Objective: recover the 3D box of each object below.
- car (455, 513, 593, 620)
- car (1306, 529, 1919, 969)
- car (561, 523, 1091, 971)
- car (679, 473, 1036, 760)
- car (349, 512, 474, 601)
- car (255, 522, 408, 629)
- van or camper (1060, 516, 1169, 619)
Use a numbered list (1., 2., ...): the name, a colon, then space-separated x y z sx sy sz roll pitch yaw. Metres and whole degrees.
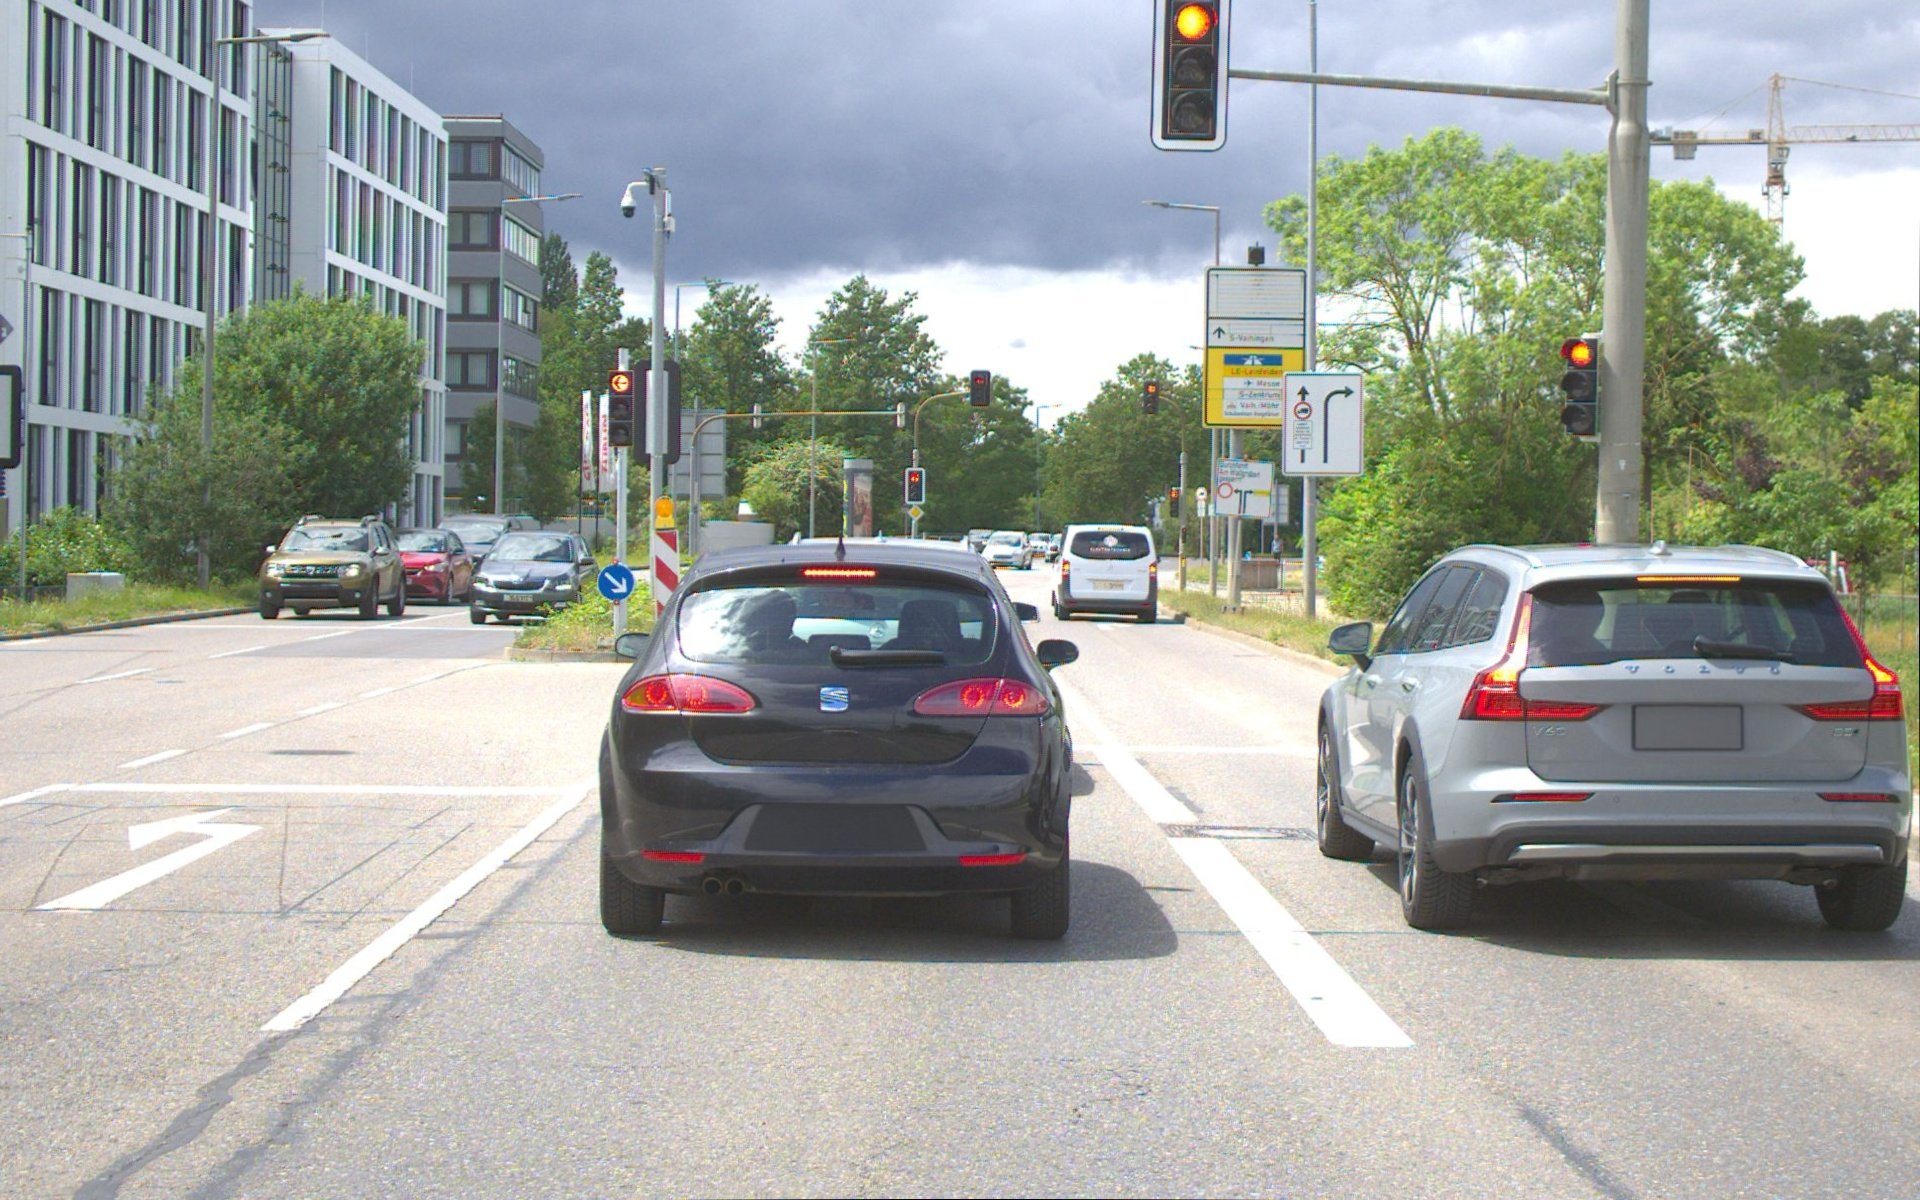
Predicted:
1. car: -6.823 -0.551 54.092 1.668 1.519 4.008 -1 2 -1
2. car: 2.627 0.501 14.232 1.958 1.520 4.340 -1 0 0
3. car: -0.388 0.484 13.814 1.748 1.478 4.000 2 1 3
4. car: -0.631 0.053 21.512 1.983 1.585 4.226 1 1 -1
5. car: -10.331 -0.817 64.988 1.776 1.606 4.000 0 1 -1
6. car: -10.090 -0.410 55.435 1.751 1.625 4.000 -1 1 -1
7. van or camper: 2.960 -0.631 66.541 1.899 1.919 4.000 0 1 0
